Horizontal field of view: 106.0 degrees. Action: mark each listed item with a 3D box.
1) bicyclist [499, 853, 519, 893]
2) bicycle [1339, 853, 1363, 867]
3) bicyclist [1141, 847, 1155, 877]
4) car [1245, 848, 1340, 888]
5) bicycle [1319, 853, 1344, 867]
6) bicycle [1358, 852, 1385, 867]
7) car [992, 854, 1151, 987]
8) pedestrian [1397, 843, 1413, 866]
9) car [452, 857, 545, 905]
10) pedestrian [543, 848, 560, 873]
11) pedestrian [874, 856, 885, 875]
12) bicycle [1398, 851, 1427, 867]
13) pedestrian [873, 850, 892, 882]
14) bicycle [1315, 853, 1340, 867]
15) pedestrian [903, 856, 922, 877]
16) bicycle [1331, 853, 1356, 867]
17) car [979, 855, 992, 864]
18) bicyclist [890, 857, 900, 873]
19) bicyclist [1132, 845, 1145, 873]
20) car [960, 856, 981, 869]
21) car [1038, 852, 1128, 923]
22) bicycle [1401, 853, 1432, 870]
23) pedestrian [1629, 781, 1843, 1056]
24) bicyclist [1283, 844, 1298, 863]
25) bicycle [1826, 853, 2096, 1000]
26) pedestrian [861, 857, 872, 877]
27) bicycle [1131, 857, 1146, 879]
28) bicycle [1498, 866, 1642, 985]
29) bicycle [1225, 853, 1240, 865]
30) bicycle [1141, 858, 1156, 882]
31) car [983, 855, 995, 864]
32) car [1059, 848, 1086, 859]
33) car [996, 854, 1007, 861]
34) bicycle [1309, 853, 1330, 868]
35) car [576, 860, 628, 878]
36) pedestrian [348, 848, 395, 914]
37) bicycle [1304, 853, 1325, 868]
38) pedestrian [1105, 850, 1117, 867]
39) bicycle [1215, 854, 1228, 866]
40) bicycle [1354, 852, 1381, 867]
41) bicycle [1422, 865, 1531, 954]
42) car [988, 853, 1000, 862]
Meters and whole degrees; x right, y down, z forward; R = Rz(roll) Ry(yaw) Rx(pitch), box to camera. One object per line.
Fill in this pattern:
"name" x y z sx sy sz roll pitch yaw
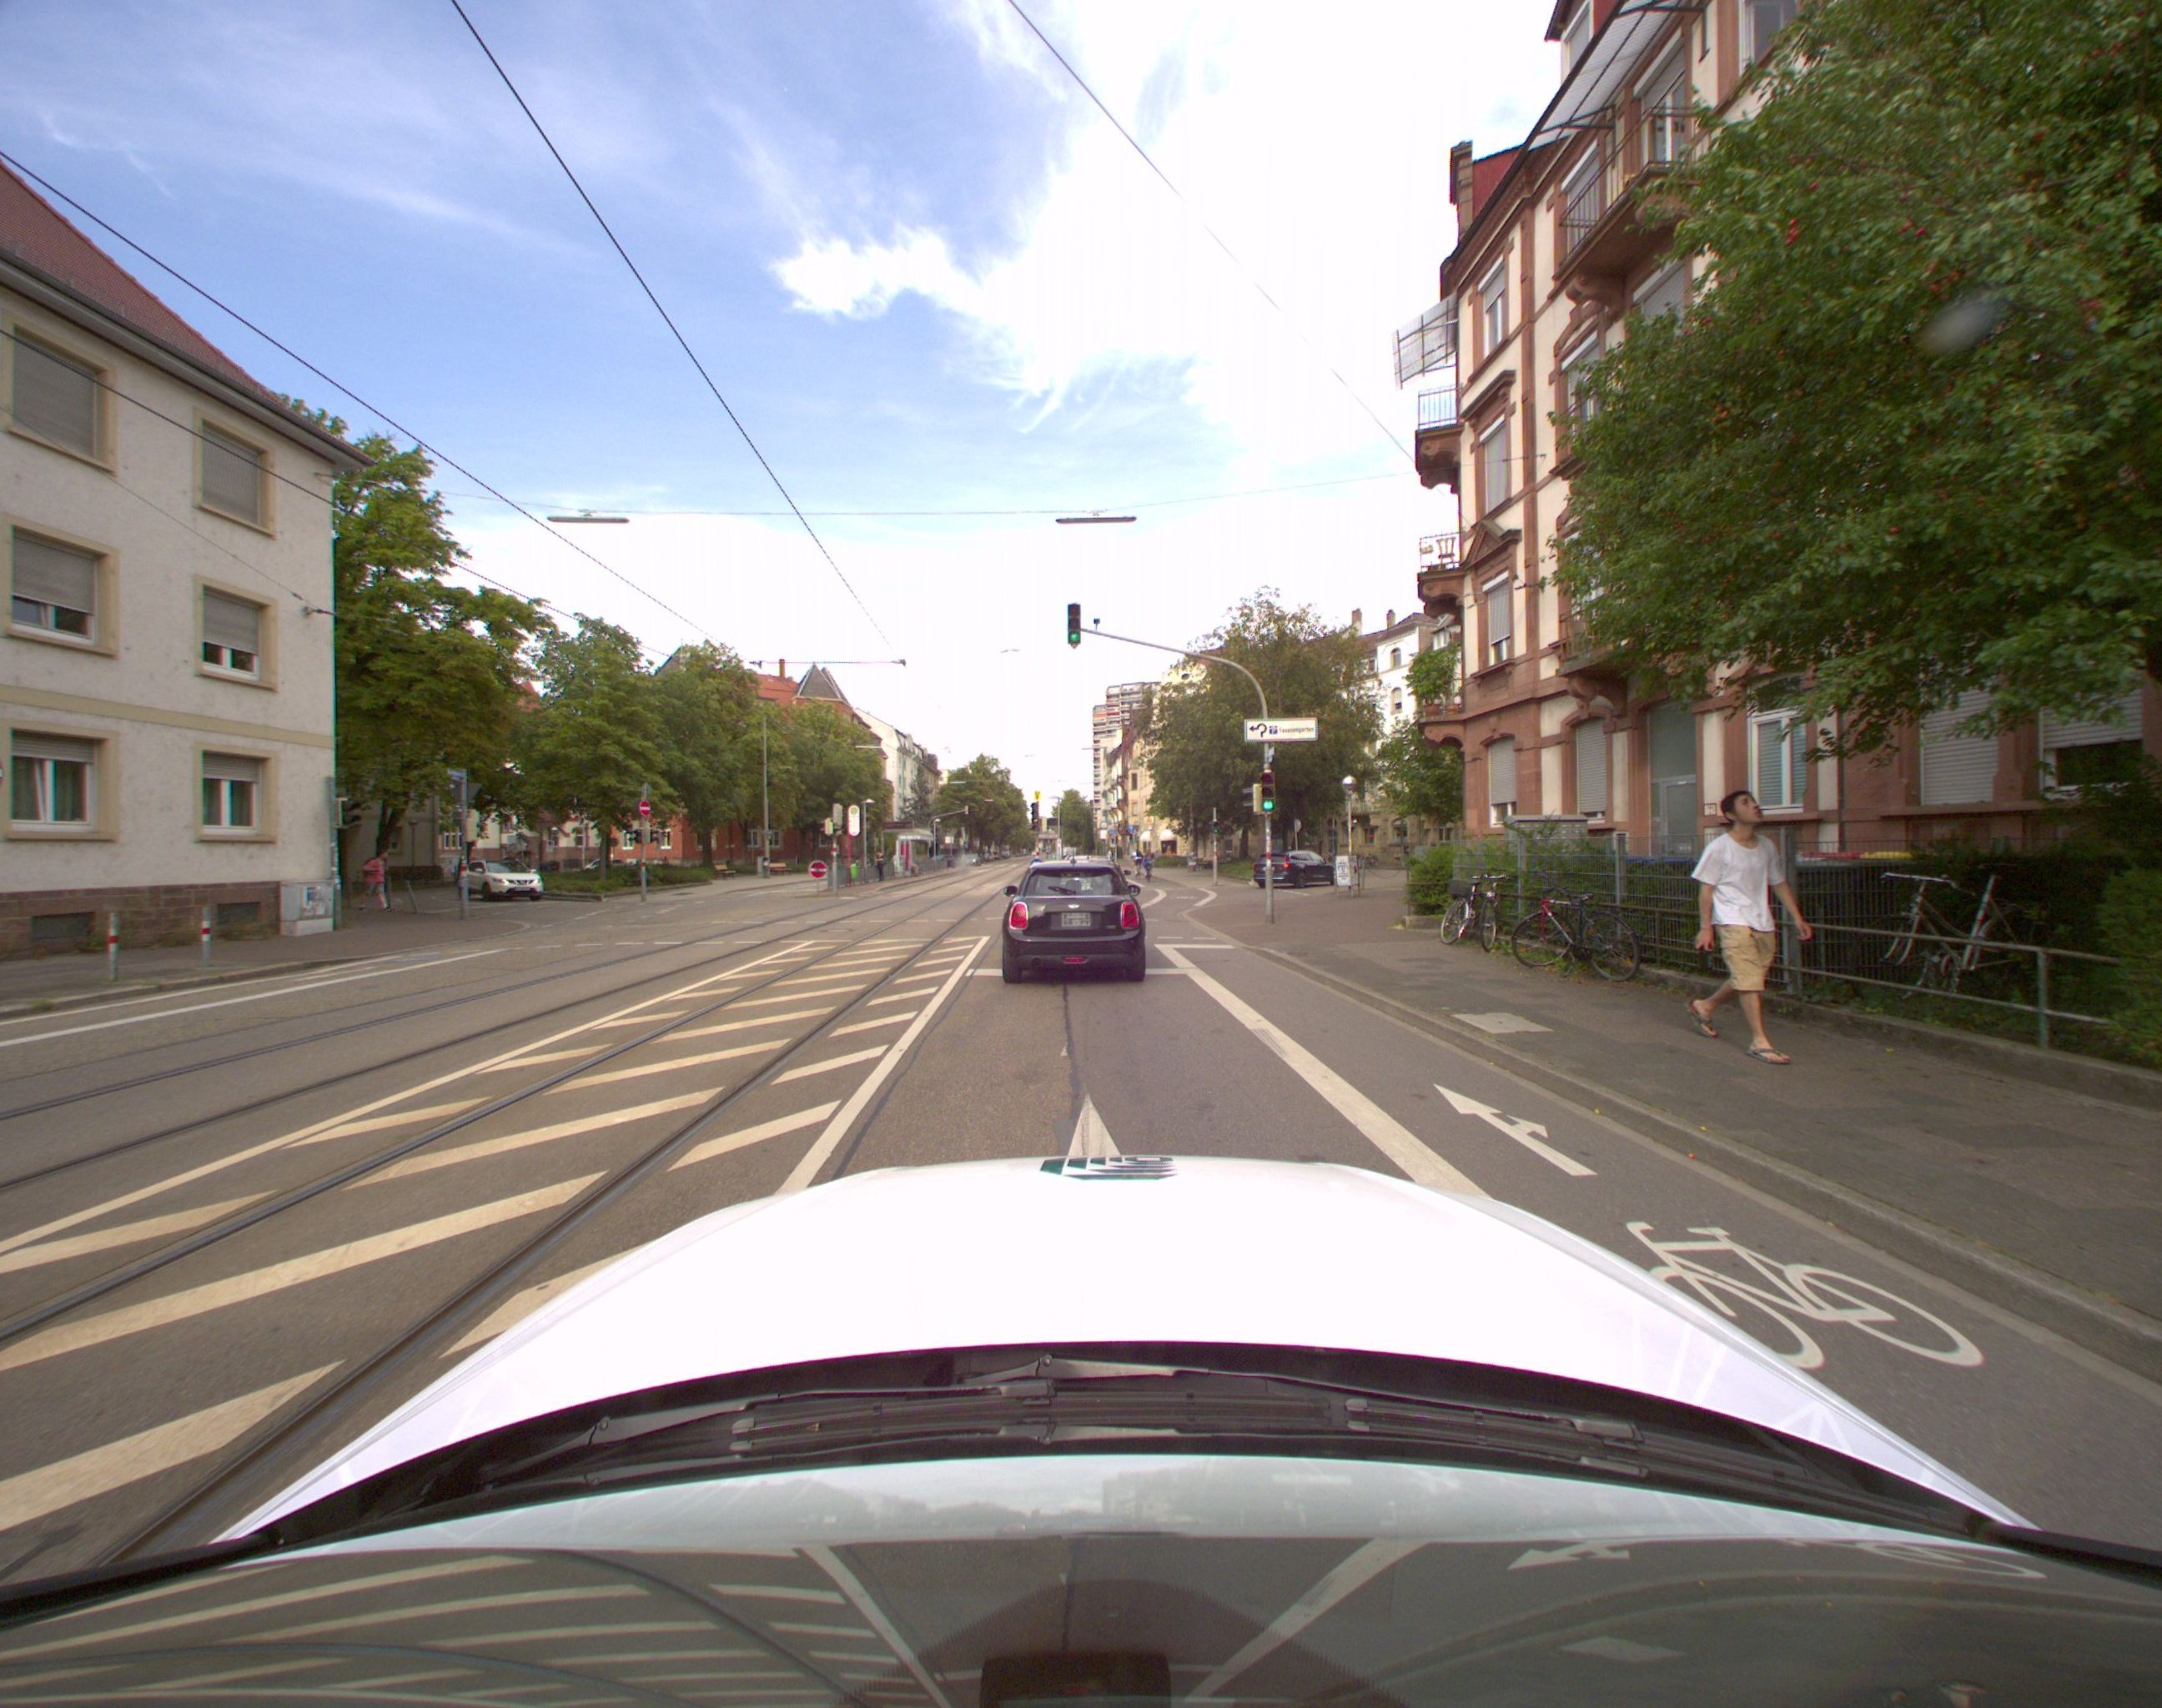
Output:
"bicyclist" -25.569 0.842 36.438 0.614 1.775 0.902 -1 0 -30
"bicycle" 21.232 0.471 64.082 1.896 1.128 0.590 -1 0 -25
"bicyclist" 3.466 0.418 42.190 0.593 1.550 1.013 -1 0 -2
"car" 8.418 0.522 32.149 1.735 1.441 4.507 -1 0 42
"bicycle" 20.285 0.479 65.868 1.888 1.128 0.596 -1 0 -11
"bicycle" 22.028 0.436 61.729 1.885 1.128 0.532 -1 0 -6
"car" -0.099 0.739 11.048 1.746 1.441 3.999 1 0 0
"pedestrian" 24.510 0.036 61.604 0.730 1.676 0.833 -1 0 -9
"car" -22.901 1.076 31.970 4.105 1.721 1.852 -3 -3 38
"pedestrian" -38.500 0.485 59.215 0.745 1.754 0.736 -1 0 16
"pedestrian" -18.263 1.053 73.920 0.832 1.703 0.731 -1 0 -7
"bicycle" 23.379 0.347 57.451 1.890 1.128 0.530 -1 0 -14
"pedestrian" -10.409 0.627 42.713 0.851 1.621 0.841 -1 0 -7
"bicycle" 20.129 0.482 66.448 1.888 1.128 0.561 -1 0 -11
"pedestrian" -10.460 0.777 50.687 1.057 1.293 0.983 -1 0 -7
"bicycle" 20.911 0.473 64.829 1.893 1.128 0.579 -1 0 -19
"car" -15.600 0.827 132.949 1.762 1.395 3.996 -1 0 -3
"bicyclist" -16.439 0.966 71.925 0.659 1.339 0.835 -1 0 -2
"bicyclist" 3.232 0.270 45.884 0.682 1.564 0.998 -1 0 0
"car" -12.417 0.925 91.819 1.746 1.441 3.999 1 0 0
"car" 0.048 0.719 19.720 1.921 1.510 3.999 -1 0 0
"bicycle" 23.292 0.500 56.543 1.879 1.128 0.533 -1 0 3
"pedestrian" 4.526 0.413 5.706 0.727 1.754 0.950 -1 0 3
"bicyclist" 16.718 -0.036 65.020 0.619 1.473 0.906 -1 0 -32
"bicycle" 6.532 0.513 6.074 1.542 1.008 0.509 -1 0 -4
"pedestrian" -18.416 1.089 69.956 0.832 1.703 0.731 -1 0 -7
"bicycle" 3.239 0.762 45.855 0.681 1.170 1.696 -1 0 0
"bicycle" 5.153 0.709 8.701 0.507 1.088 1.549 -4 0 -1
"bicycle" 13.774 0.451 74.068 0.526 0.972 1.659 -1 0 40
"bicycle" 3.482 0.811 42.193 0.597 1.170 1.695 -1 0 -2
"car" -15.799 0.923 140.615 1.762 1.395 3.996 -1 0 -3
"car" -1.712 -0.088 165.788 5.067 2.272 2.368 -1 0 -42
"car" -17.813 0.763 182.555 1.988 1.552 3.998 -1 0 -1
"bicycle" 19.700 0.524 67.142 1.901 1.127 0.527 -3 1 -33
"car" -41.777 1.274 71.021 3.953 1.478 1.825 -1 0 21
"pedestrian" -21.213 0.788 24.359 0.835 1.900 0.728 -1 0 -20
"bicycle" 19.428 0.534 67.617 1.901 1.128 0.527 -2 0 -33
"pedestrian" 3.149 0.447 85.647 0.723 1.674 0.840 -4 0 45
"bicycle" 12.937 0.516 74.877 0.444 1.055 1.659 -1 0 40
"bicycle" 21.930 0.395 62.310 1.885 1.128 0.532 -1 0 -6
"bicycle" 5.504 0.734 11.436 0.669 1.106 1.671 -1 0 -2
"car" -17.119 0.683 159.611 1.988 1.552 3.998 -1 0 -1
